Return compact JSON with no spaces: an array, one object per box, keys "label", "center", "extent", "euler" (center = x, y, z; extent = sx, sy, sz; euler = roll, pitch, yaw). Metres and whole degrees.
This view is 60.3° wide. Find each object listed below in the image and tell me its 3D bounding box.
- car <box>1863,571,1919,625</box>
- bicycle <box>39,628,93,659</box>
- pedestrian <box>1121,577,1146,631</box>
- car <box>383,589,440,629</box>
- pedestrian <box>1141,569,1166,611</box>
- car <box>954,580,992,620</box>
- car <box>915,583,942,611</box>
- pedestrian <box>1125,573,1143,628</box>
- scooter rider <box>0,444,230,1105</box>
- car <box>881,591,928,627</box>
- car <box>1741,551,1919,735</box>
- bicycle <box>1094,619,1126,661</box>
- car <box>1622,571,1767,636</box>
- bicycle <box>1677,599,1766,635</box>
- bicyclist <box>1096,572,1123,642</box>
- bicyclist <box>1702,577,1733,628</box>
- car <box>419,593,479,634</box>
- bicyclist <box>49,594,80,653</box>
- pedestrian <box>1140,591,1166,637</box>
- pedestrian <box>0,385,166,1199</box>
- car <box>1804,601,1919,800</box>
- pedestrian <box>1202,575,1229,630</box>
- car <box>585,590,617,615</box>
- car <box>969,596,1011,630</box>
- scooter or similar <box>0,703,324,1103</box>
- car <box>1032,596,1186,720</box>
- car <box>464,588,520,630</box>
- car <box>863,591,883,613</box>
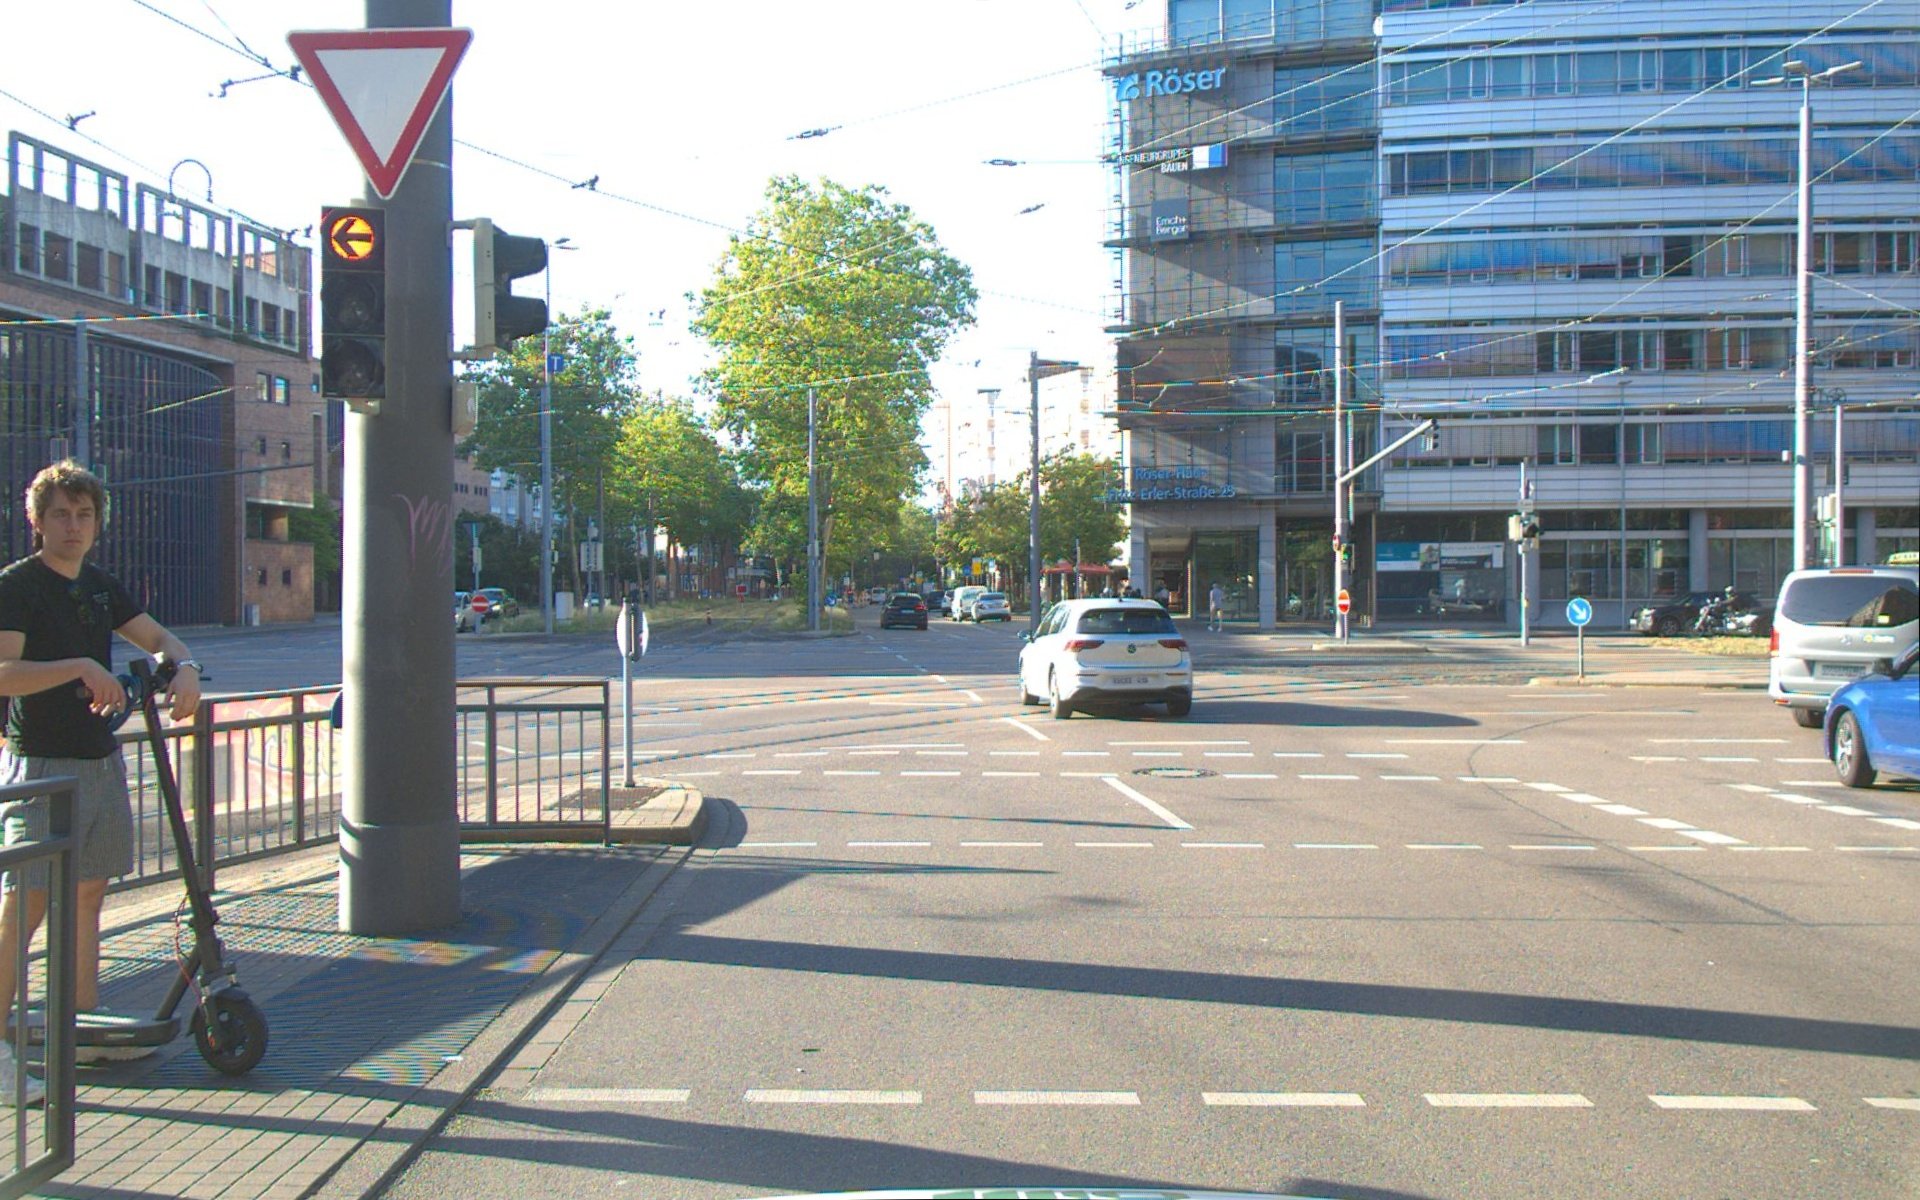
[{"label":"car","center":[29.393,-0.023,49.375],"extent":[3.903,1.579,1.798],"euler":[1,0,4]},{"label":"bicycle","center":[-25.096,1.209,46.455],"extent":[0.578,0.784,1.966],"euler":[-1,0,-5]},{"label":"pedestrian","center":[6.537,0.152,62.429],"extent":[0.832,2.049,0.707],"euler":[1,-1,-2]},{"label":"car","center":[-25.893,0.417,78.207],"extent":[1.832,1.793,3.993],"euler":[1,0,-8]},{"label":"pedestrian","center":[10.477,-0.518,89.367],"extent":[1.285,2.228,1.171],"euler":[1,-1,5]},{"label":"car","center":[0.686,0.008,89.631],"extent":[1.953,2.049,3.999],"euler":[1,0,-1]},{"label":"car","center":[-2.406,-0.223,126.748],"extent":[1.953,2.049,3.999],"euler":[1,0,-1]},{"label":"pedestrian","center":[6.485,0.011,61.789],"extent":[0.574,2.049,0.620],"euler":[1,-1,0]},{"label":"scooter rider","center":[-2.691,0.505,5.088],"extent":[0.554,1.885,0.680],"euler":[-1,-2,4]},{"label":"car","center":[-2.278,0.353,67.097],"extent":[1.729,1.429,4.292],"euler":[0,0,-5]},{"label":"car","center":[11.191,0.435,19.692],"extent":[1.974,1.929,4.848],"euler":[1,1,44]},{"label":"bicycle","center":[3.188,0.843,35.344],"extent":[0.481,0.802,1.861],"euler":[1,1,-1]},{"label":"car","center":[24.320,0.108,54.876],"extent":[3.906,2.049,2.000],"euler":[1,0,-1]},{"label":"bicycle","center":[22.923,0.505,49.820],"extent":[2.359,1.040,0.637],"euler":[-1,0,4]},{"label":"bicyclist","center":[3.195,0.143,35.397],"extent":[0.477,1.464,0.615],"euler":[2,1,-1]},{"label":"bicyclist","center":[22.818,0.077,49.834],"extent":[0.649,1.529,0.613],"euler":[-1,0,4]},{"label":"car","center":[-20.651,0.511,66.965],"extent":[1.591,1.604,3.994],"euler":[-1,0,-7]},{"label":"bicyclist","center":[-25.091,0.655,46.355],"extent":[0.575,1.654,0.514],"euler":[-1,0,-5]},{"label":"pedestrian","center":[7.324,0.538,62.750],"extent":[0.852,1.737,0.793],"euler":[1,-1,-1]},{"label":"pedestrian","center":[-2.766,0.468,4.094],"extent":[1.143,1.917,0.854],"euler":[-1,0,4]},{"label":"car","center":[8.090,0.769,12.370],"extent":[1.711,1.485,4.215],"euler":[1,0,5]},{"label":"pedestrian","center":[9.674,0.103,62.592],"extent":[0.852,2.049,0.793],"euler":[1,-1,-1]},{"label":"car","center":[-23.875,0.154,110.098],"extent":[1.644,1.635,3.994],"euler":[1,0,-7]},{"label":"car","center":[1.480,0.663,82.868],"extent":[1.988,1.624,3.999],"euler":[1,0,-1]},{"label":"scooter or similar","center":[-2.679,0.894,5.080],"extent":[1.177,1.100,0.648],"euler":[-1,0,3]},{"label":"car","center":[1.851,0.682,21.609],"extent":[1.712,1.443,4.001],"euler":[0,0,1]},{"label":"car","center":[-21.046,0.382,74.443],"extent":[1.787,1.821,3.994],"euler":[-1,0,-7]},{"label":"car","center":[-9.782,0.274,186.437],"extent":[1.952,2.049,3.998],"euler":[1,-6,0]}]
